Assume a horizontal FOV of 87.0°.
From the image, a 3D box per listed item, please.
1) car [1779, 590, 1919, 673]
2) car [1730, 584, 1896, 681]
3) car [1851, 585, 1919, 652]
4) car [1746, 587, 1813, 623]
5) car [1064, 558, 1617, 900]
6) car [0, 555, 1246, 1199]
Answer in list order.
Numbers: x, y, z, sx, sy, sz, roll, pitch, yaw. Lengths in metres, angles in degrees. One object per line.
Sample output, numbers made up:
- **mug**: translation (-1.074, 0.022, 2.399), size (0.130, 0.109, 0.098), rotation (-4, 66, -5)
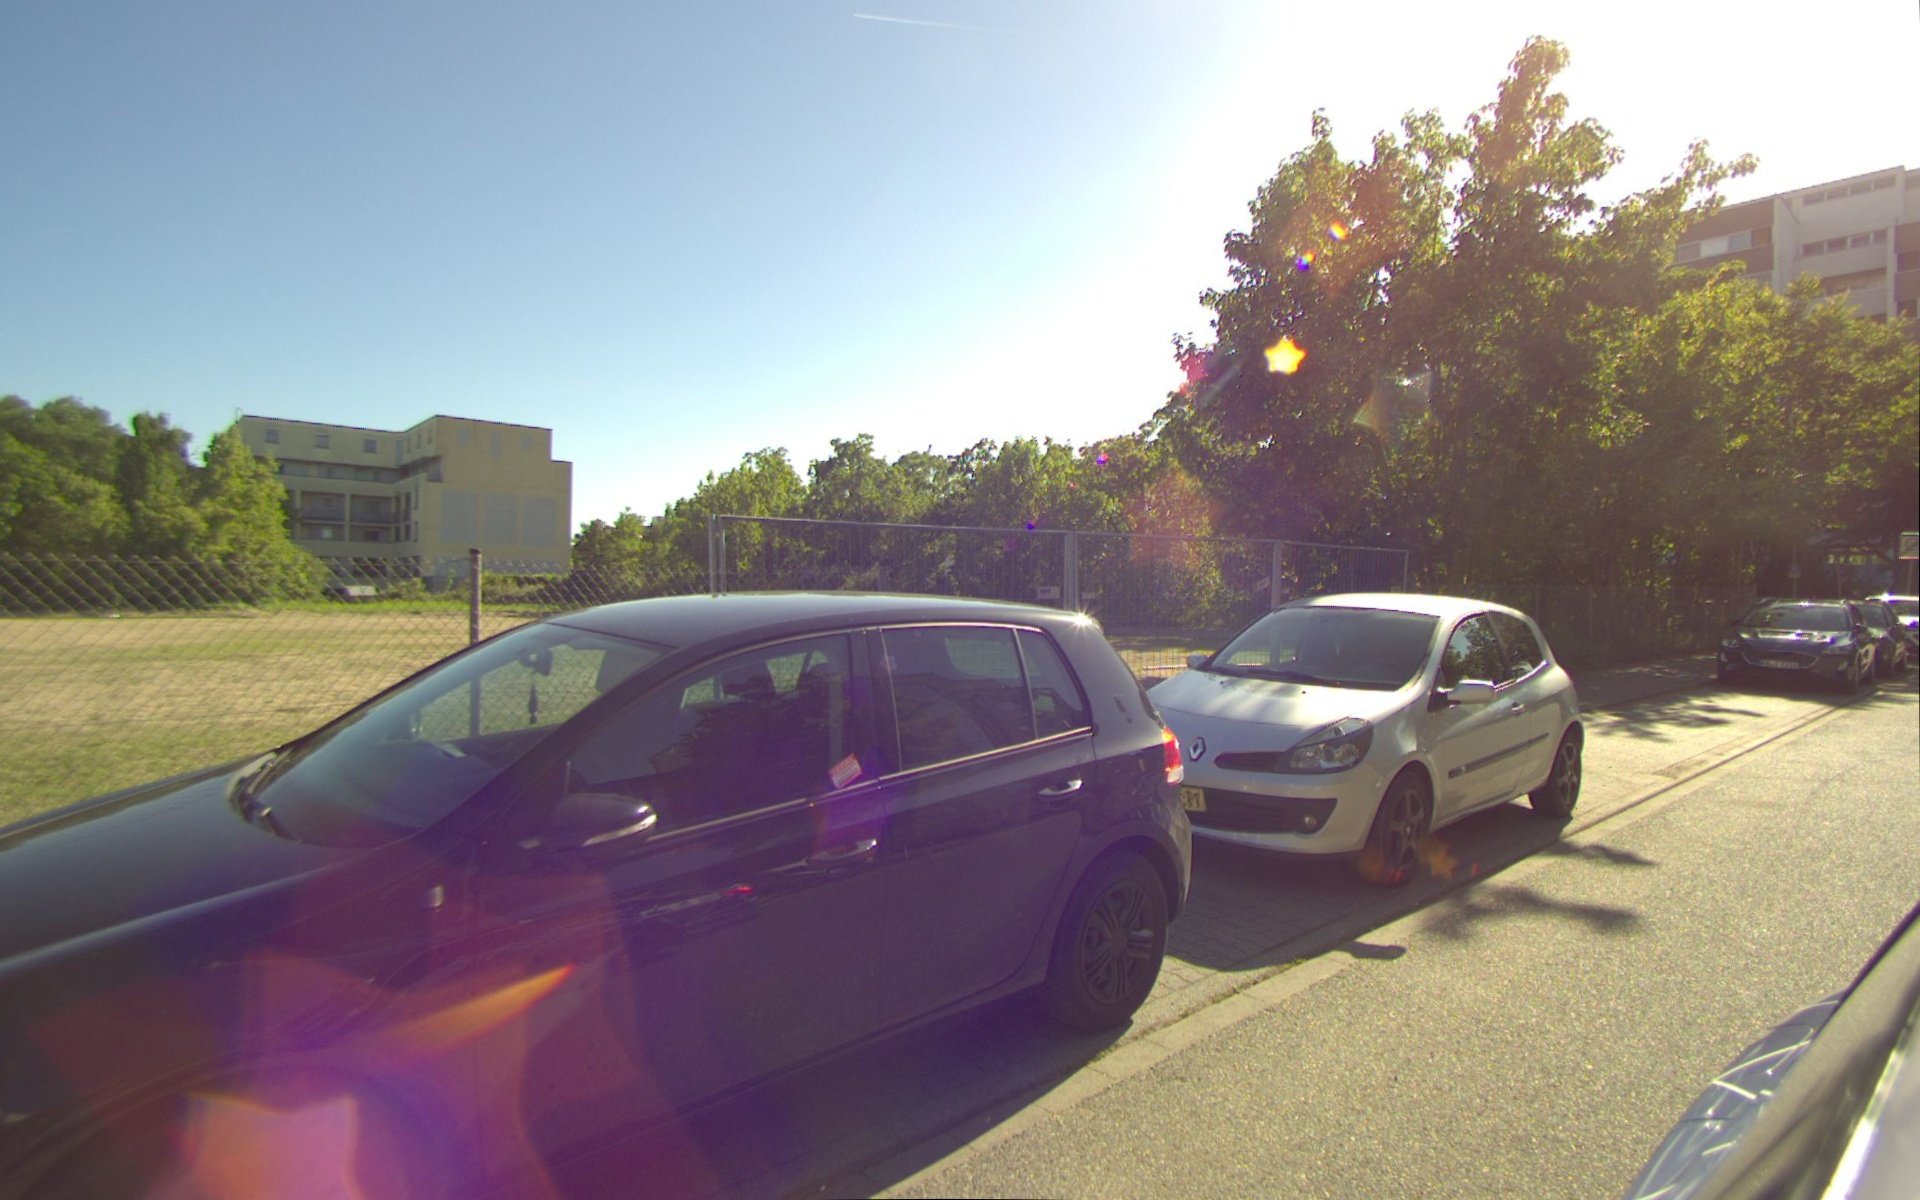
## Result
- **car**: translation (18.206, 0.557, 20.544), size (3.998, 1.490, 1.827), rotation (-1, 1, -41)
- **car**: translation (14.628, 0.457, 17.273), size (4.365, 1.456, 1.678), rotation (-1, 1, -43)
- **car**: translation (23.256, 0.412, 24.765), size (4.019, 1.469, 1.622), rotation (-2, 1, -40)
- **car**: translation (36.750, 0.173, 45.371), size (3.931, 1.469, 1.714), rotation (-2, 2, -41)
- **car**: translation (2.622, 0.610, 6.482), size (3.930, 1.532, 1.665), rotation (2, -1, -41)
- **car**: translation (-0.964, 0.666, 3.091), size (4.009, 1.513, 1.690), rotation (-1, 1, -42)
